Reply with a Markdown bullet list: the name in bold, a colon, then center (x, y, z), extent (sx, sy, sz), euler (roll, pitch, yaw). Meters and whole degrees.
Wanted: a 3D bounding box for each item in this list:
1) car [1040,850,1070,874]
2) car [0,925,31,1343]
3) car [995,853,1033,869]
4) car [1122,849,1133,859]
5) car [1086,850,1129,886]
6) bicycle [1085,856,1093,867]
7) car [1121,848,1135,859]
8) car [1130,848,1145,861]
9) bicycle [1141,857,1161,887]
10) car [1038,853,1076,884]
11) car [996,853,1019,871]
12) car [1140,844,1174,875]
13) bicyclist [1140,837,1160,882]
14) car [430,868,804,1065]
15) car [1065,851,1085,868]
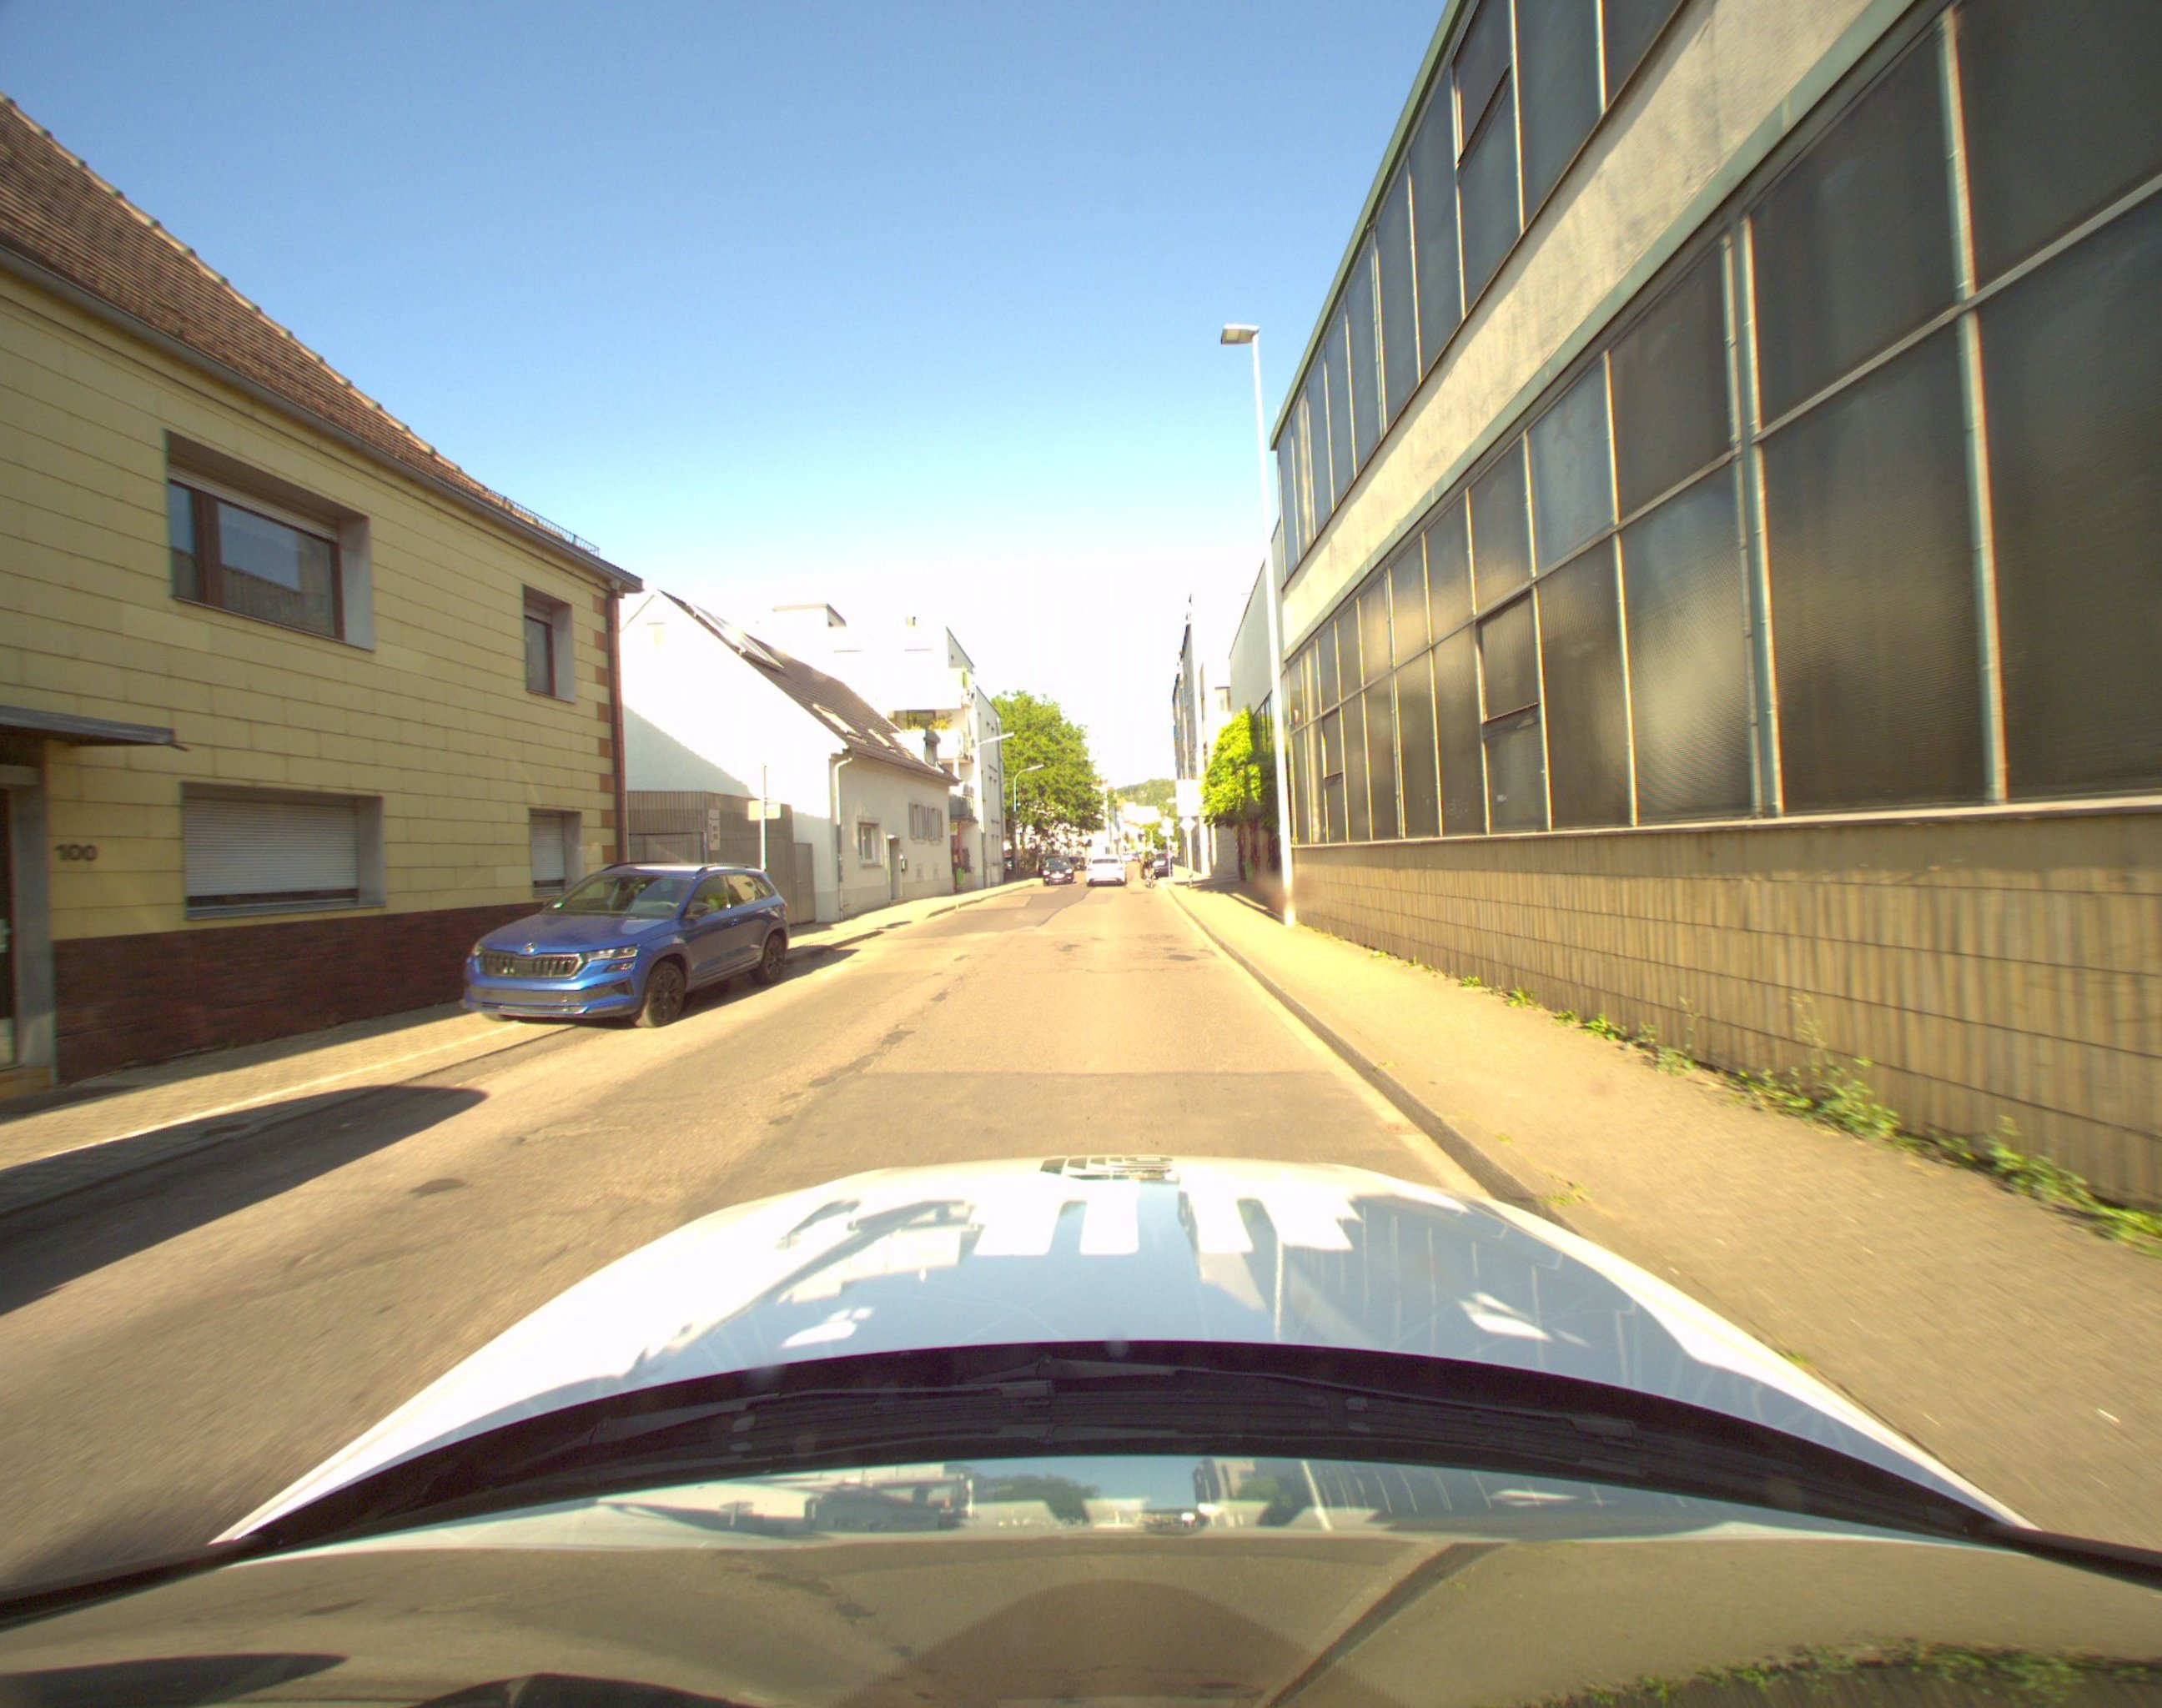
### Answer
- **car**: center (-2.038, 0.587, 64.719), extent (1.845, 1.791, 4.612), euler (-3, 0, 4)
- **car**: center (-5.176, 1.130, 1.052), extent (1.850, 1.587, 4.339), euler (-1, 1, 3)
- **car**: center (-7.548, 0.779, 91.714), extent (3.879, 1.575, 1.713), euler (-3, 0, 7)
- **car**: center (7.847, -0.024, 137.927), extent (1.656, 1.575, 3.919), euler (-3, 0, 5)
- **car**: center (1.218, 0.608, 37.749), extent (1.835, 1.491, 4.145), euler (-3, 0, 1)
- **bicycle**: center (1.028, 0.926, 98.364), extent (0.832, 1.217, 2.843), euler (-3, 0, 2)
- **car**: center (7.982, -0.116, 138.718), extent (1.935, 1.587, 4.629), euler (-6, 0, 6)
- **car**: center (8.237, 0.007, 119.123), extent (1.847, 1.791, 4.607), euler (-3, 0, 0)
- **bicycle**: center (2.832, 0.706, 33.201), extent (0.695, 1.130, 2.405), euler (-3, 0, 4)
- **car**: center (-1.248, 0.765, 43.976), extent (1.836, 1.491, 4.144), euler (-3, 0, 0)
- **car**: center (-7.348, 0.808, 81.914), extent (1.783, 1.689, 3.966), euler (-1, 0, 1)
- **car**: center (4.361, 0.316, 47.141), extent (1.623, 1.587, 4.071), euler (-6, 0, 2)
- **bicyclist**: center (2.811, 0.223, 33.197), extent (0.695, 1.790, 1.042), euler (-3, -1, 3)
- **car**: center (-4.960, 1.073, 9.552), extent (1.802, 1.587, 4.196), euler (-1, 1, 2)
- **car**: center (-0.590, 0.562, 83.163), extent (1.697, 1.575, 3.916), euler (-3, 0, 2)
